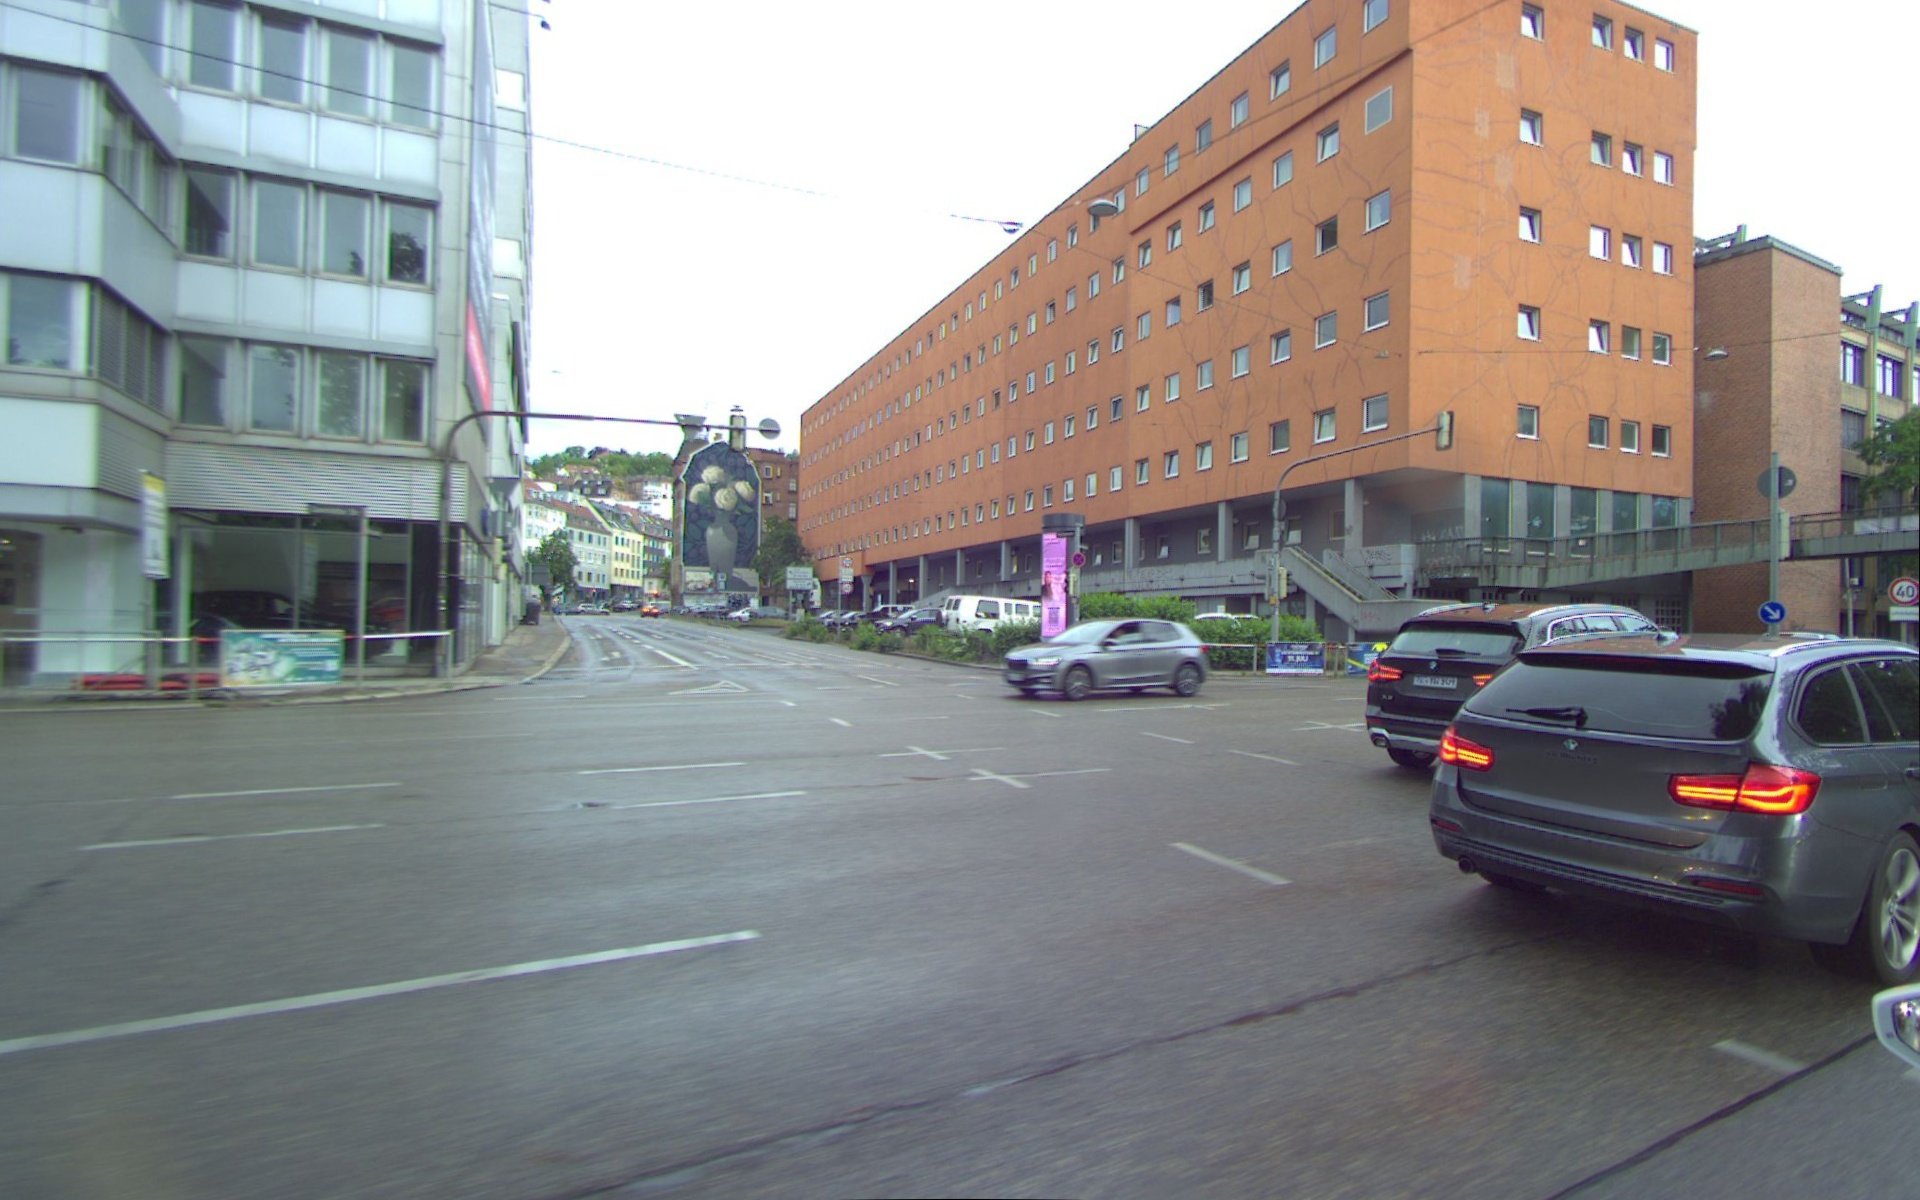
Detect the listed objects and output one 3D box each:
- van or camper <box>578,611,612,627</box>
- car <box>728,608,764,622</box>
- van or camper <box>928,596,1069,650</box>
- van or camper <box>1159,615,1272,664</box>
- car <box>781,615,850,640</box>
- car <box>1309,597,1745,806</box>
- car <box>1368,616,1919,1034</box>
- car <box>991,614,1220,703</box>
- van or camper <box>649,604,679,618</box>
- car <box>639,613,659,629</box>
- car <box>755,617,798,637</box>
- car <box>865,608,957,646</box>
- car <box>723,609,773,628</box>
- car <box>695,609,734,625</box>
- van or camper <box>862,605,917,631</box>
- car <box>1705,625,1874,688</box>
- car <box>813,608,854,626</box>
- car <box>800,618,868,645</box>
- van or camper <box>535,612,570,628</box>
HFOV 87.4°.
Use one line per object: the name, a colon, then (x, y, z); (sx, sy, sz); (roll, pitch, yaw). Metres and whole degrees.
van or camper: (-50.657, 2.630, 139.305); (4.379, 2.041, 1.988); (2, 1, -21)
car: (-25.241, 1.766, 118.423); (3.919, 1.583, 1.768); (2, 1, -21)
van or camper: (1.608, 0.947, 41.337); (5.379, 2.004, 2.119); (2, 1, -25)
van or camper: (9.106, 1.371, 36.084); (1.888, 1.649, 3.976); (1, -1, -25)
car: (-8.345, 1.593, 58.015); (3.816, 1.311, 1.656); (2, -1, -13)
car: (5.811, 0.896, 10.181); (4.391, 1.678, 1.801); (2, 1, -30)
car: (4.431, 0.865, 5.463); (4.424, 1.477, 1.768); (2, -1, -30)
car: (2.723, 1.050, 18.608); (3.991, 1.484, 1.702); (2, -1, -29)
van or camper: (-48.469, 1.810, 164.692); (4.556, 2.041, 1.990); (2, 1, -21)
car: (-36.796, 2.474, 118.659); (1.881, 1.788, 3.770); (2, 0, -23)
car: (-14.218, 2.114, 77.761); (3.121, 1.372, 1.396); (2, 1, -16)
car: (-2.337, 1.267, 47.773); (4.030, 1.633, 1.705); (2, 1, -24)
car: (-18.343, 1.565, 86.925); (3.921, 1.459, 1.767); (2, 1, -23)
car: (-26.469, 1.817, 108.204); (3.919, 1.583, 1.768); (2, 1, -21)
van or camper: (-6.054, 1.534, 86.312); (4.315, 2.004, 1.962); (2, 1, -24)
car: (20.427, 1.363, 24.701); (4.353, 1.412, 1.822); (2, -2, -30)
car: (-12.926, 1.773, 102.495); (3.839, 1.643, 1.768); (2, 1, -21)
car: (-6.732, 1.672, 53.716); (3.460, 1.311, 1.531); (2, -1, -13)
van or camper: (-58.796, 2.874, 144.934); (4.556, 2.041, 2.115); (2, 1, -21)
